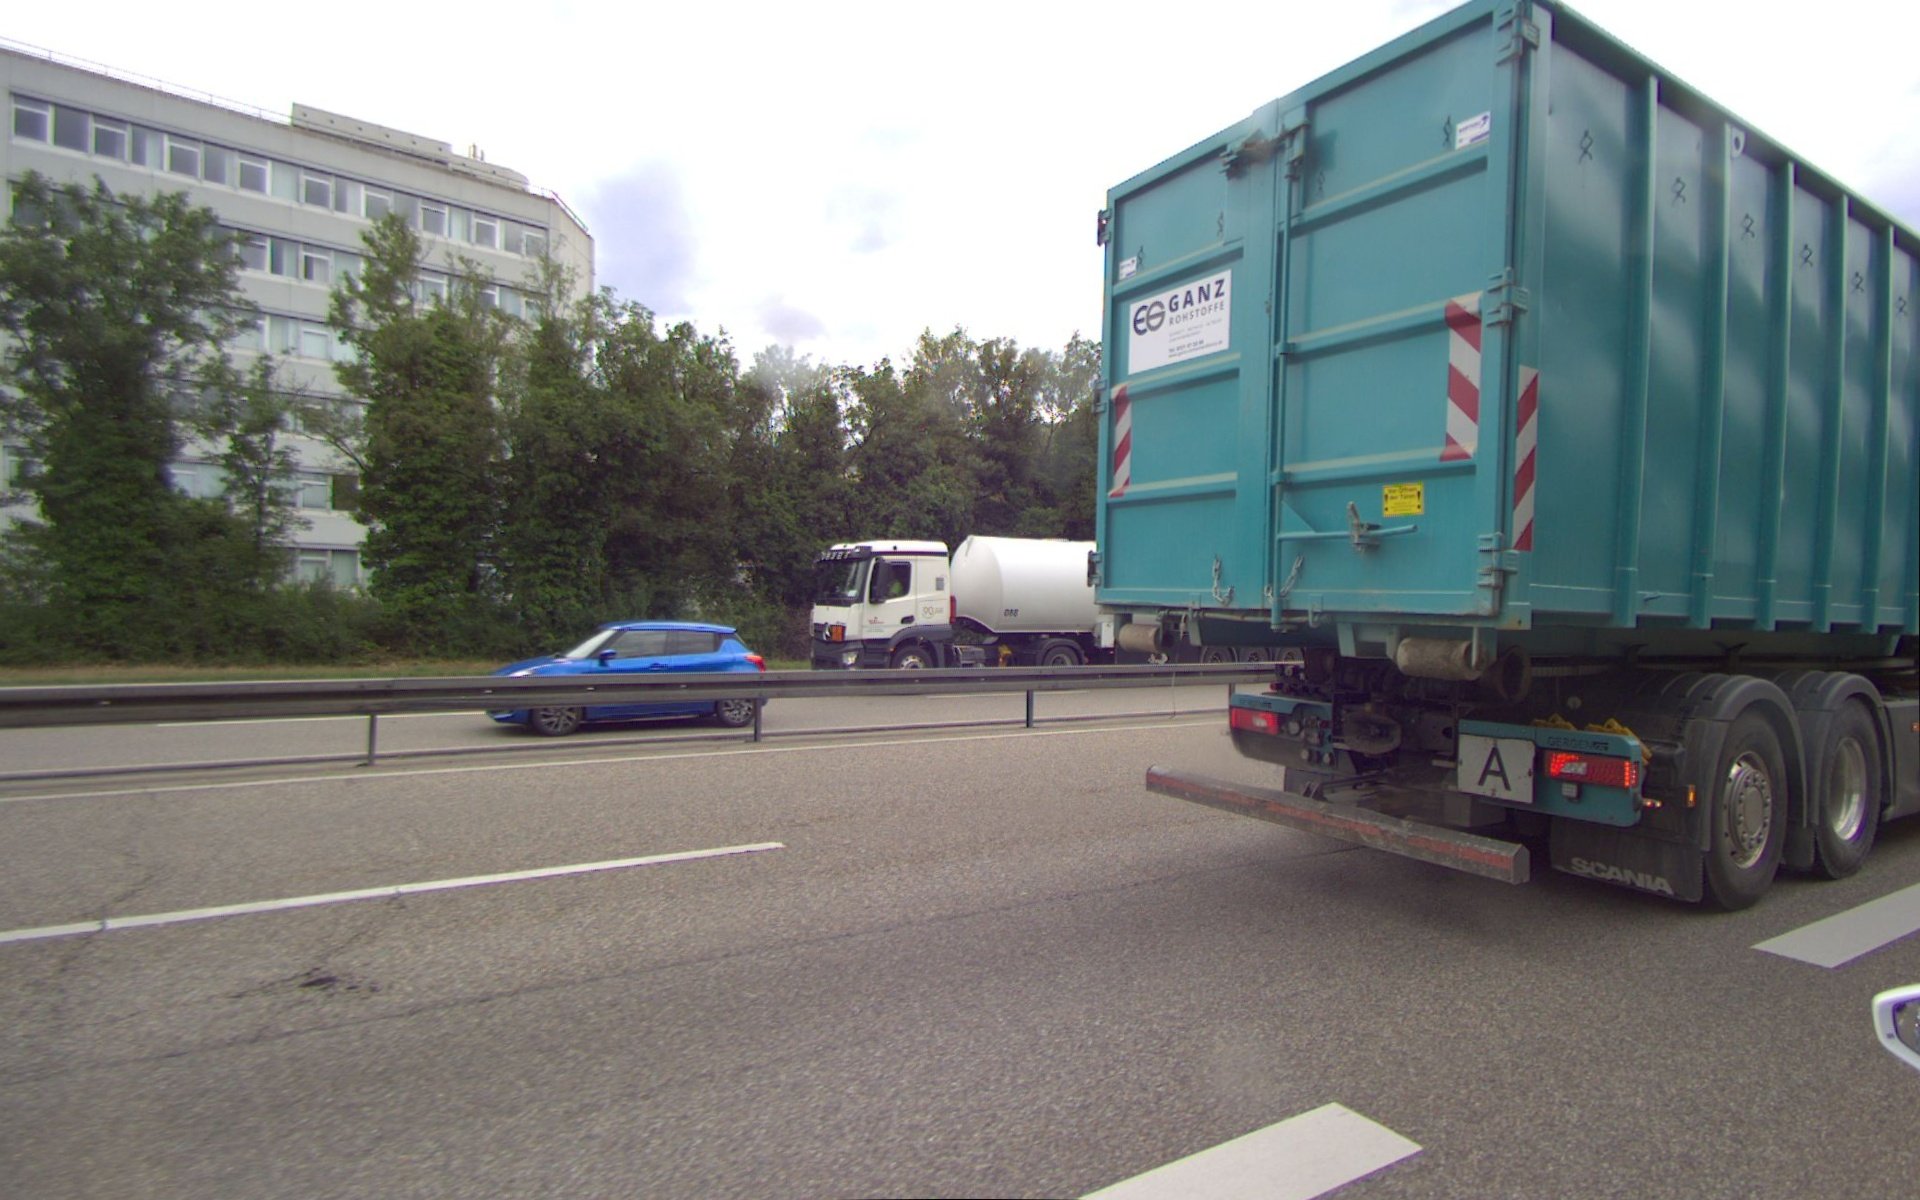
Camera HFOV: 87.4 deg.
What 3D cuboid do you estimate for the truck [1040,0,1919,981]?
[{"bbox_3d":[5.996,-0.397,7.978,11.205,3.847,2.913,1,-1,-32],"label":"truck"}]

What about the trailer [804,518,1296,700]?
[{"bbox_3d":[2.614,0.296,23.295,12.320,3.441,2.458,1,-1,-31],"label":"trailer"}]

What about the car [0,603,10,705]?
[{"bbox_3d":[-15.675,0.769,13.723,3.667,1.521,1.582,1,-1,-35],"label":"car"}]

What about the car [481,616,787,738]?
[{"bbox_3d":[-4.575,1.002,14.258,3.881,1.521,1.584,1,-1,-32],"label":"car"}]
